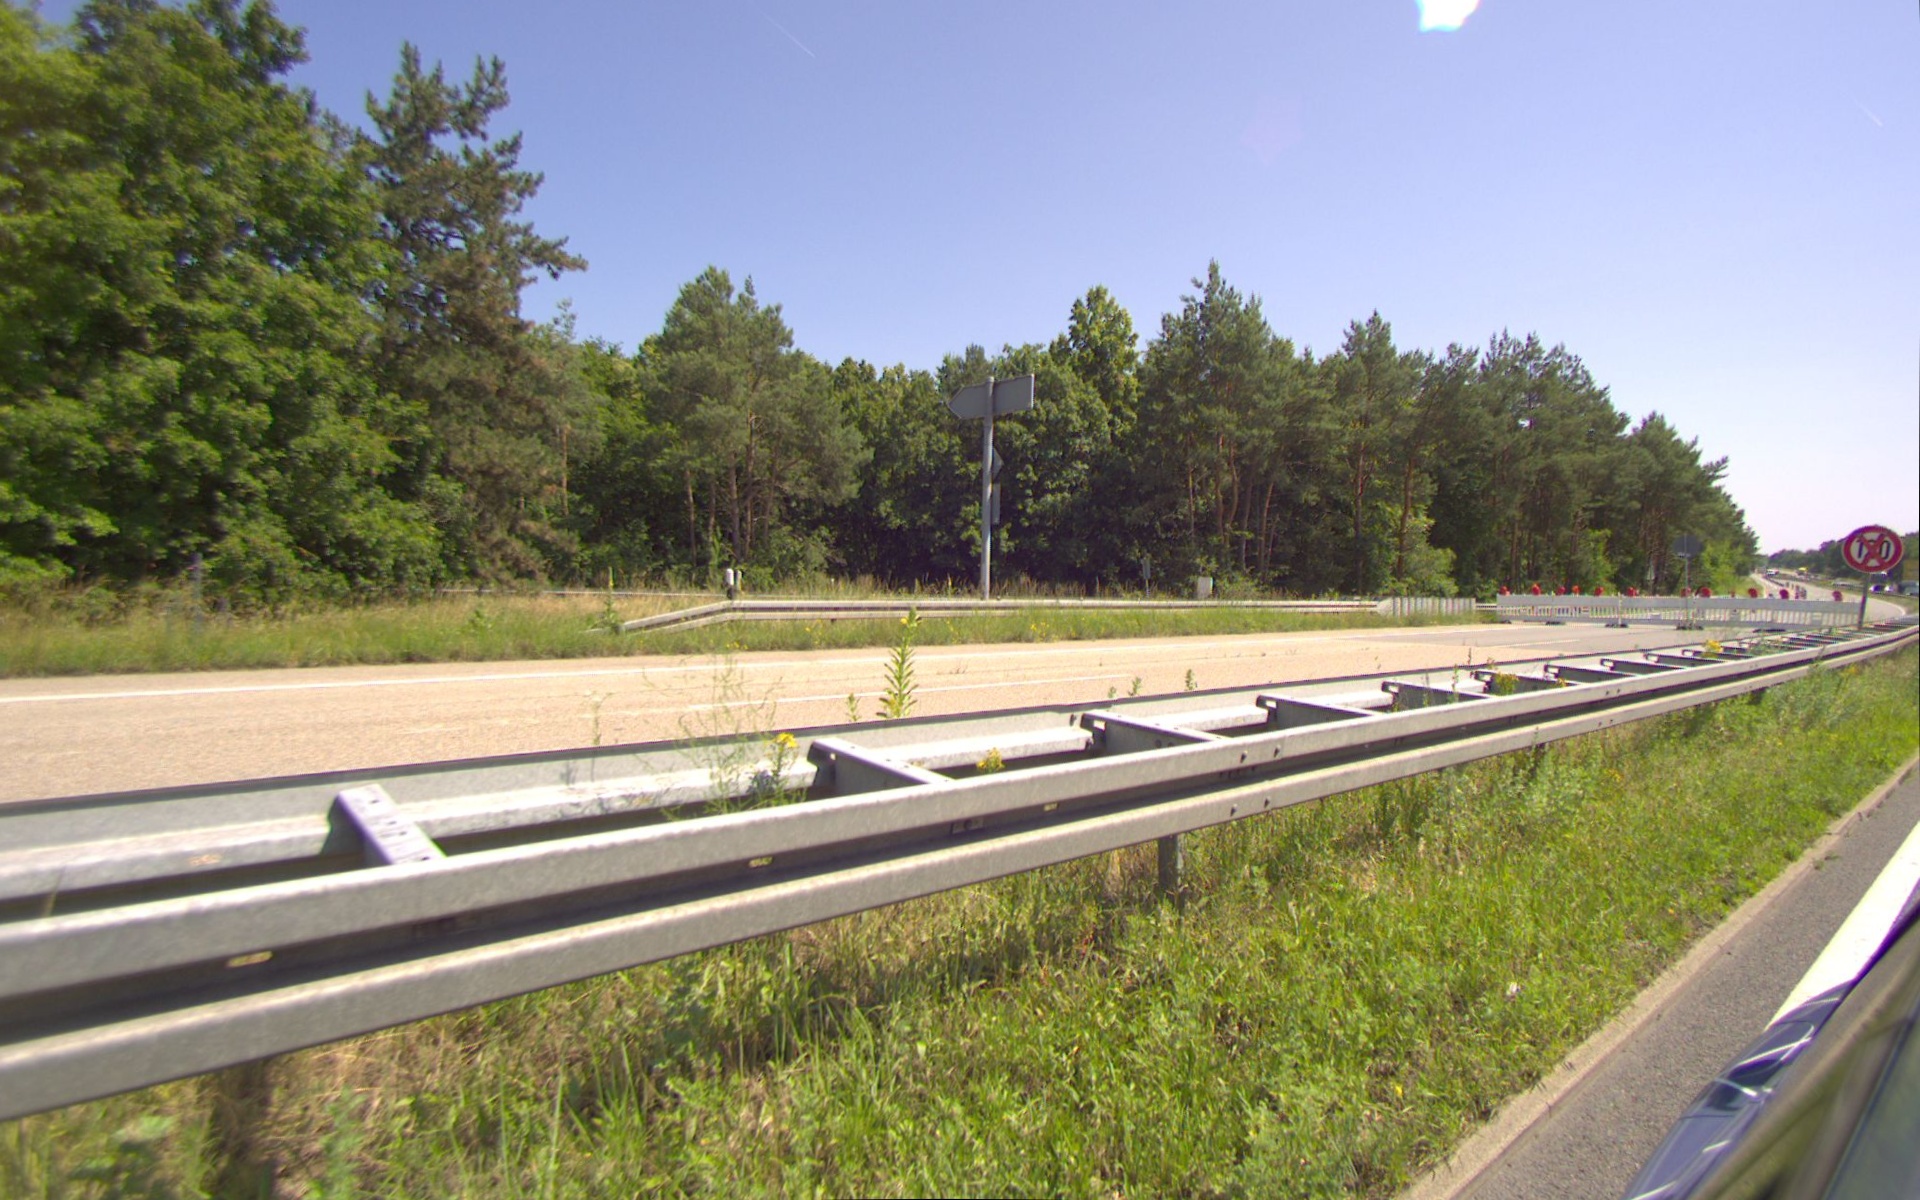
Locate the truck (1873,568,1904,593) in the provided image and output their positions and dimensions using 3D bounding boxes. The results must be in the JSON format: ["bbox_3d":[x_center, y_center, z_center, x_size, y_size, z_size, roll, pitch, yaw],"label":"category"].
[{"bbox_3d":[163.010,-3.384,177.655,3.819,4.343,11.070,2,1,43],"label":"truck"}]

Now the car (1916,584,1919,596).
[{"bbox_3d":[132.397,-1.319,138.786,1.521,1.677,3.923,2,1,40],"label":"car"}]
